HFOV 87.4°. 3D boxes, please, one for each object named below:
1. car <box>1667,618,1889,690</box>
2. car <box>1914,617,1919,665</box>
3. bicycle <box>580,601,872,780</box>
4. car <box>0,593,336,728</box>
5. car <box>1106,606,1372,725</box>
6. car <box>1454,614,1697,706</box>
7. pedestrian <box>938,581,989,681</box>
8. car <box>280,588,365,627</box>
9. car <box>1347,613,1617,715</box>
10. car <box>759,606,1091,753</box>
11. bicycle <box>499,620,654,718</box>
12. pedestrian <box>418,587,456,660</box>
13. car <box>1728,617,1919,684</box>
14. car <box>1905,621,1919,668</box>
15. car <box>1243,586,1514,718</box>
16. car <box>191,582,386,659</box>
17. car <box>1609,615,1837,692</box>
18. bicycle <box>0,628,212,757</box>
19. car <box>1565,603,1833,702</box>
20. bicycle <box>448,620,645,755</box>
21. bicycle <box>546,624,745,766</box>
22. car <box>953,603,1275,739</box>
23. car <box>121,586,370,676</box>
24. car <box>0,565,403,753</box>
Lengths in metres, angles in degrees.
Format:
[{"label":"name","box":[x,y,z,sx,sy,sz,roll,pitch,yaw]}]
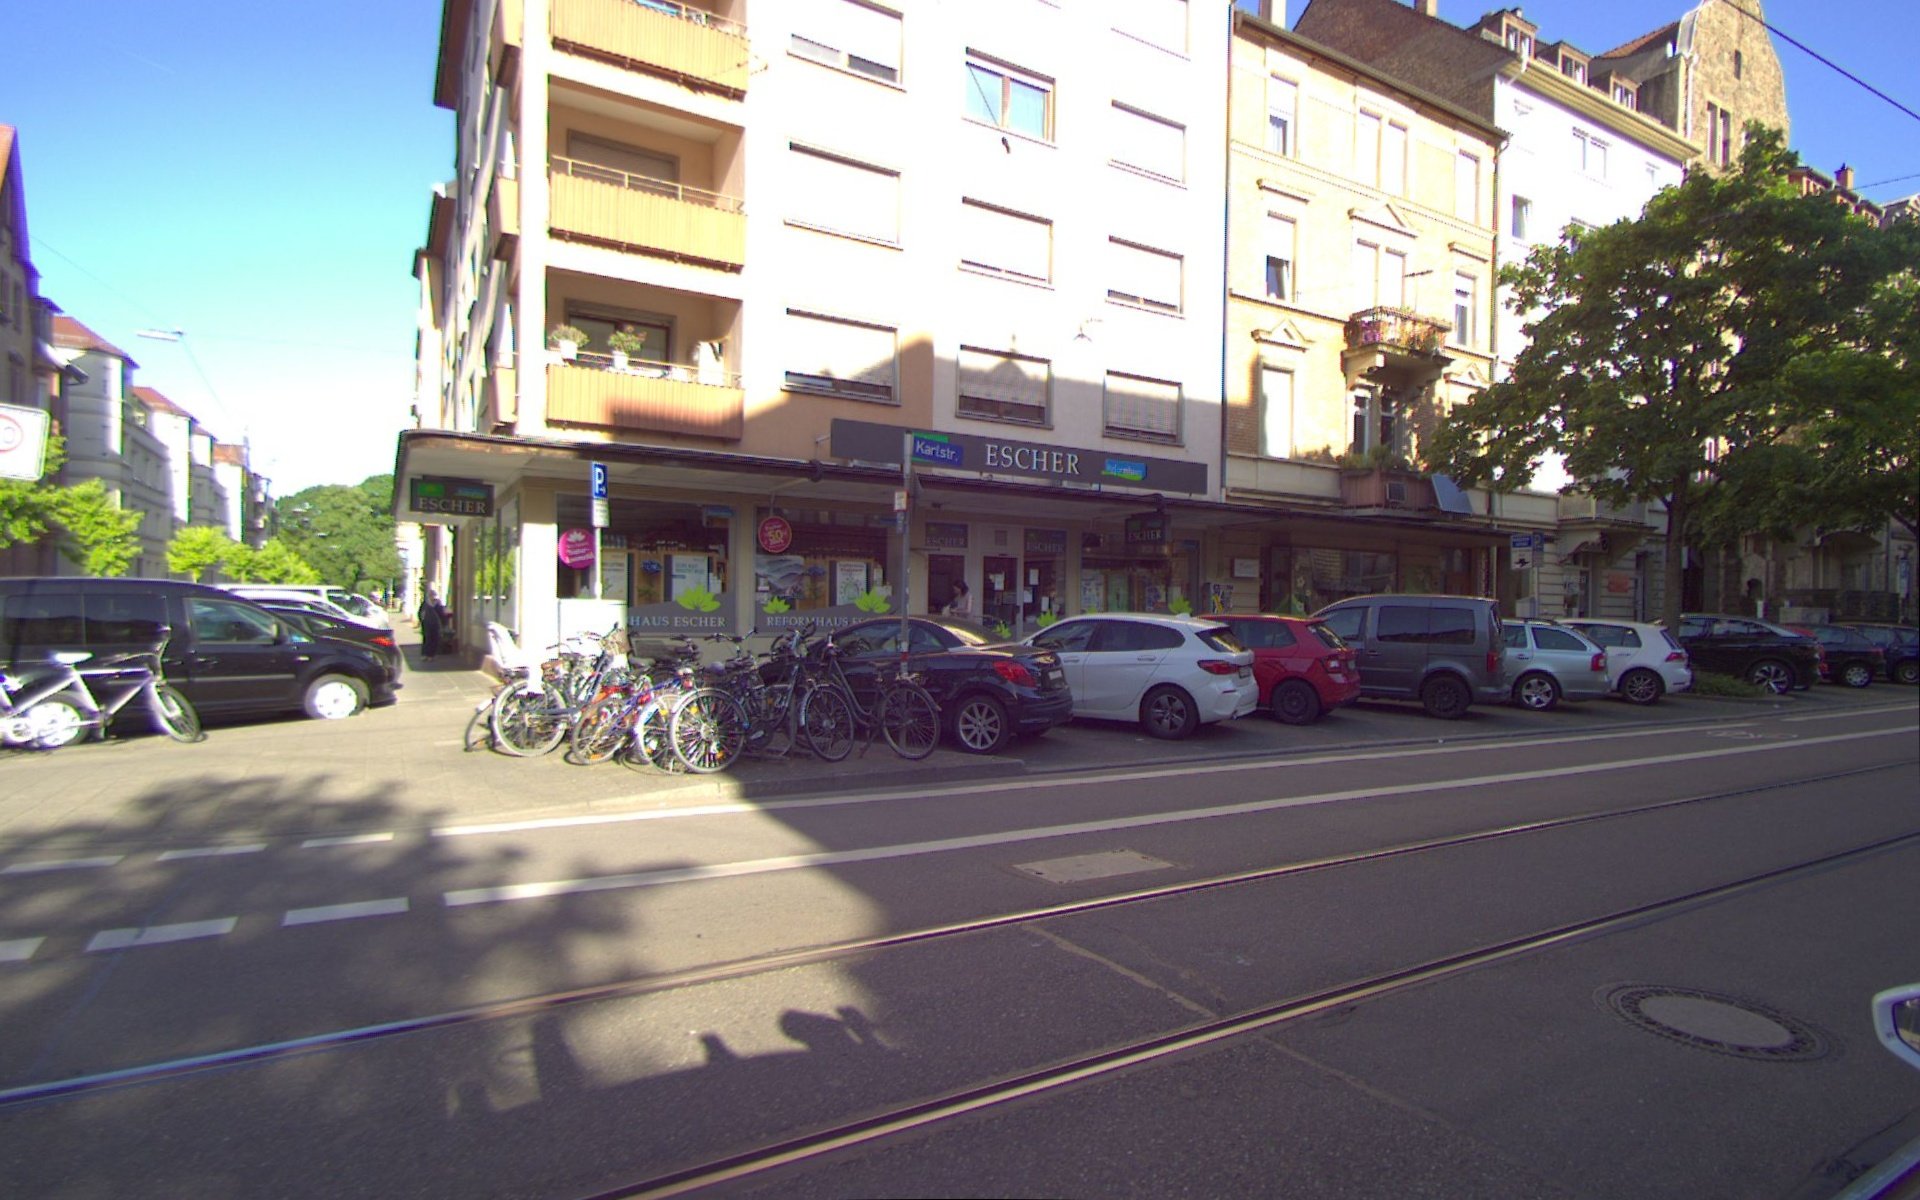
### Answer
[{"label":"car","box":[20.080,1.284,24.887,3.926,1.509,1.804,2,0,28]},{"label":"car","box":[34.482,1.460,33.225,3.933,1.639,1.707,2,0,35]},{"label":"bicycle","box":[-1.994,0.709,8.816,2.410,1.337,0.677,-1,2,-35]},{"label":"car","box":[-11.221,0.705,13.908,1.816,1.411,3.992,1,3,29]},{"label":"car","box":[4.042,0.864,14.638,3.410,1.493,1.645,1,0,31]},{"label":"car","box":[11.717,1.071,19.271,3.780,1.449,1.760,2,0,35]},{"label":"pedestrian","box":[0.058,0.517,17.106,0.634,1.674,0.566,1,1,-30]},{"label":"car","box":[-34.136,0.401,53.852,1.479,2.010,3.562,2,0,28]},{"label":"car","box":[8.974,1.025,17.519,3.945,1.469,1.697,2,0,28]},{"label":"car","box":[-0.405,0.810,11.493,3.406,1.355,1.623,2,0,26]},{"label":"bicycle","box":[-4.706,0.824,12.438,0.398,1.124,1.830,1,-1,38]},{"label":"pedestrian","box":[-12.278,0.546,23.572,0.755,1.682,0.493,1,1,-30]},{"label":"car","box":[22.712,1.264,26.293,3.931,1.509,1.802,2,0,32]},{"label":"car","box":[32.699,1.501,31.824,3.944,1.509,1.795,2,0,44]},{"label":"car","box":[6.639,0.738,16.034,3.752,1.808,1.795,2,0,28]},{"label":"car","box":[-17.717,0.469,26.703,1.659,1.737,3.996,1,3,25]},{"label":"car","box":[17.621,1.184,23.449,3.926,1.509,1.865,2,0,28]},{"label":"bicycle","box":[-8.912,0.899,9.916,2.413,1.124,0.676,-1,2,-37]},{"label":"car","box":[15.556,1.036,21.478,4.286,1.806,1.993,2,0,28]},{"label":"bicycle","box":[-4.166,0.821,10.395,0.670,1.124,2.436,0,2,10]},{"label":"bicycle","box":[-2.966,0.847,9.677,0.671,1.139,1.884,1,2,29]},{"label":"car","box":[1.969,0.814,12.948,3.722,1.419,1.752,2,0,27]},{"label":"car","box":[-15.061,0.562,21.425,1.659,1.577,3.996,1,3,25]},{"label":"car","box":[-9.344,0.578,11.943,1.821,1.842,4.338,-2,1,39]}]
